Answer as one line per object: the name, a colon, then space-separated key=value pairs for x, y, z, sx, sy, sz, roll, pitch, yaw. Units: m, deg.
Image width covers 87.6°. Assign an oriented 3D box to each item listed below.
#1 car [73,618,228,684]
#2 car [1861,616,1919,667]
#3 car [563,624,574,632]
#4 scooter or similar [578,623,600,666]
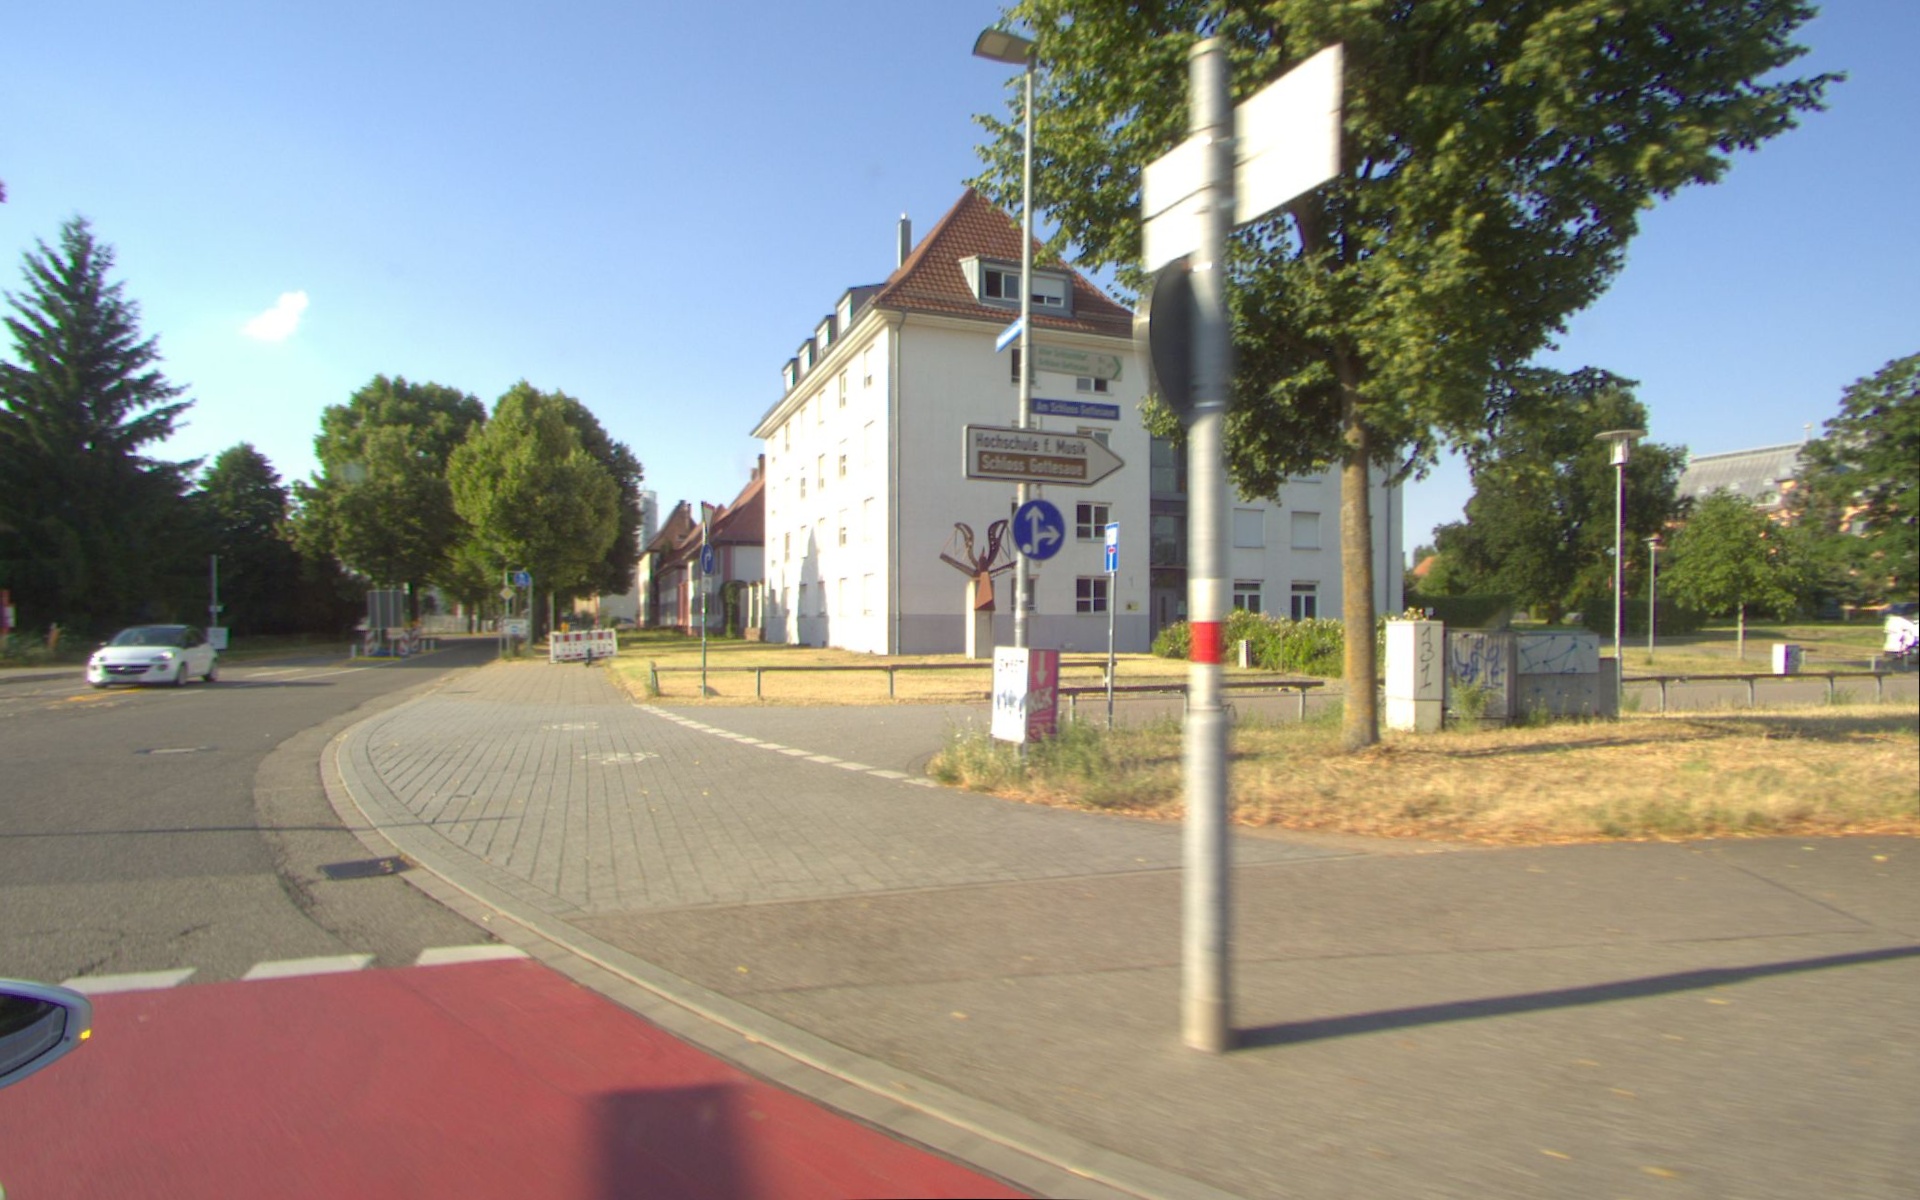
car: x=-19.473 y=1.208 z=24.278 sx=1.735 sy=1.439 sz=3.617 roll=2 pitch=-2 yaw=-19
car: x=35.008 y=1.475 z=35.621 sx=1.862 sy=1.817 sz=3.988 roll=1 pitch=-1 yaw=-22
car: x=-83.014 y=5.963 z=212.540 sx=1.694 sy=1.505 sz=3.983 roll=0 pitch=-2 yaw=-29
scooter or similar: x=-12.212 y=1.448 z=32.957 sx=0.551 sy=1.309 sz=1.459 roll=-5 pitch=1 yaw=-21
